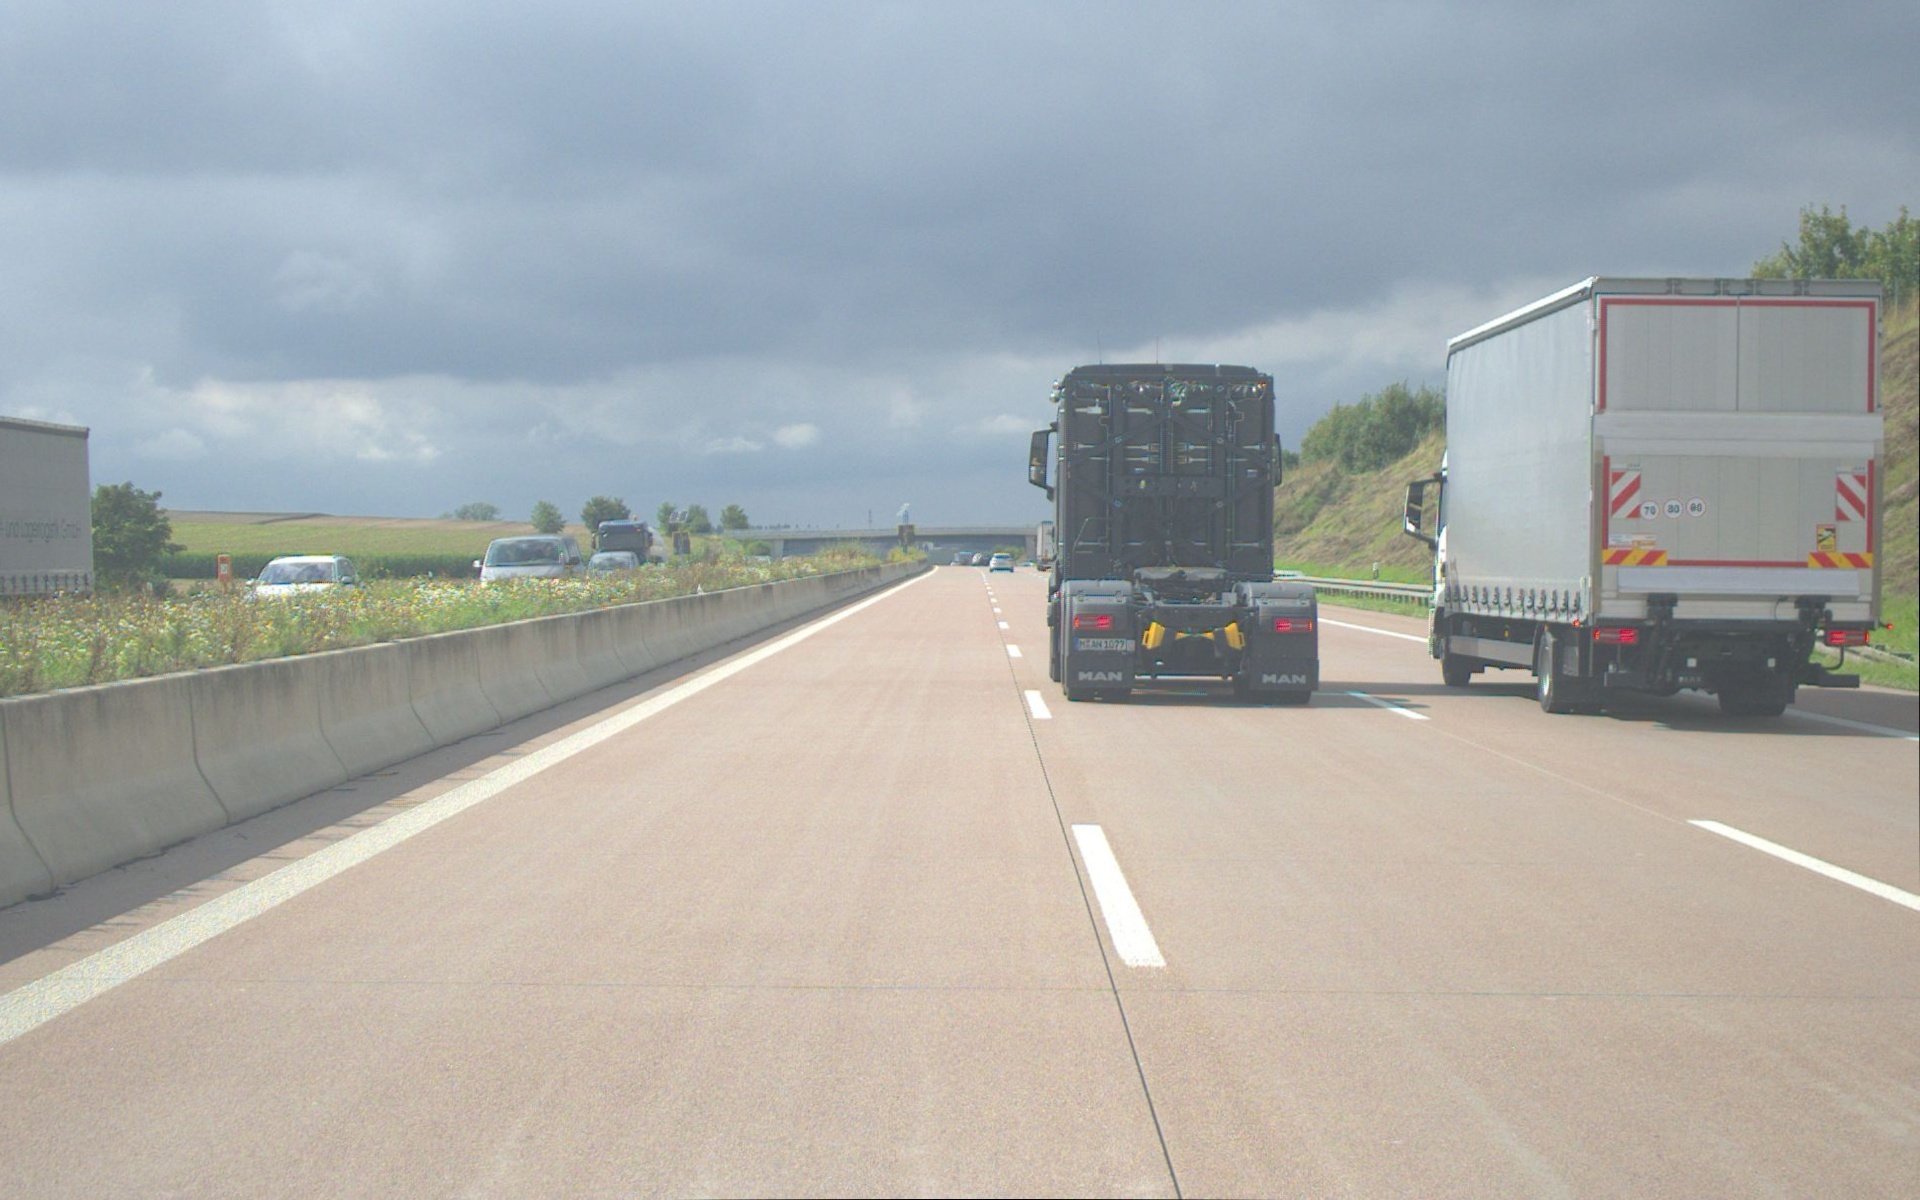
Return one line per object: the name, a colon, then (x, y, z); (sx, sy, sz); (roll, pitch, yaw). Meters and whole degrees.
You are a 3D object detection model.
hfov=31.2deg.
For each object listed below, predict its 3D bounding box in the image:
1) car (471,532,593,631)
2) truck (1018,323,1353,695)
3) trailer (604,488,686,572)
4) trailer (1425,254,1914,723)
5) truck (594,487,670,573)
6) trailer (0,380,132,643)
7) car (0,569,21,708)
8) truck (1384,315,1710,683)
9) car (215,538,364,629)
car: (-9.188, -0.419, 74.201); (1.993, 2.007, 5.247); (-2, 1, -1)
truck: (2.245, -0.921, 37.275); (2.847, 3.537, 8.320); (1, 1, -1)
trailer: (-16.062, -3.576, 175.922); (2.892, 4.084, 11.037); (-2, 1, 1)
trailer: (6.697, -1.006, 33.931); (2.747, 3.998, 8.671); (1, 1, -2)
truck: (-16.165, -3.451, 169.892); (2.892, 4.084, 6.335); (-2, 1, 1)
trailer: (-16.512, -1.434, 54.635); (3.208, 4.084, 13.258); (2, 1, 1)
car: (-12.991, 0.505, 42.112); (1.772, 1.742, 4.472); (1, 1, -1)
truck: (6.551, -1.099, 38.972); (2.748, 3.878, 4.546); (1, 1, -2)
car: (-12.959, -0.344, 66.717); (1.993, 1.652, 4.785); (-2, 1, -1)
